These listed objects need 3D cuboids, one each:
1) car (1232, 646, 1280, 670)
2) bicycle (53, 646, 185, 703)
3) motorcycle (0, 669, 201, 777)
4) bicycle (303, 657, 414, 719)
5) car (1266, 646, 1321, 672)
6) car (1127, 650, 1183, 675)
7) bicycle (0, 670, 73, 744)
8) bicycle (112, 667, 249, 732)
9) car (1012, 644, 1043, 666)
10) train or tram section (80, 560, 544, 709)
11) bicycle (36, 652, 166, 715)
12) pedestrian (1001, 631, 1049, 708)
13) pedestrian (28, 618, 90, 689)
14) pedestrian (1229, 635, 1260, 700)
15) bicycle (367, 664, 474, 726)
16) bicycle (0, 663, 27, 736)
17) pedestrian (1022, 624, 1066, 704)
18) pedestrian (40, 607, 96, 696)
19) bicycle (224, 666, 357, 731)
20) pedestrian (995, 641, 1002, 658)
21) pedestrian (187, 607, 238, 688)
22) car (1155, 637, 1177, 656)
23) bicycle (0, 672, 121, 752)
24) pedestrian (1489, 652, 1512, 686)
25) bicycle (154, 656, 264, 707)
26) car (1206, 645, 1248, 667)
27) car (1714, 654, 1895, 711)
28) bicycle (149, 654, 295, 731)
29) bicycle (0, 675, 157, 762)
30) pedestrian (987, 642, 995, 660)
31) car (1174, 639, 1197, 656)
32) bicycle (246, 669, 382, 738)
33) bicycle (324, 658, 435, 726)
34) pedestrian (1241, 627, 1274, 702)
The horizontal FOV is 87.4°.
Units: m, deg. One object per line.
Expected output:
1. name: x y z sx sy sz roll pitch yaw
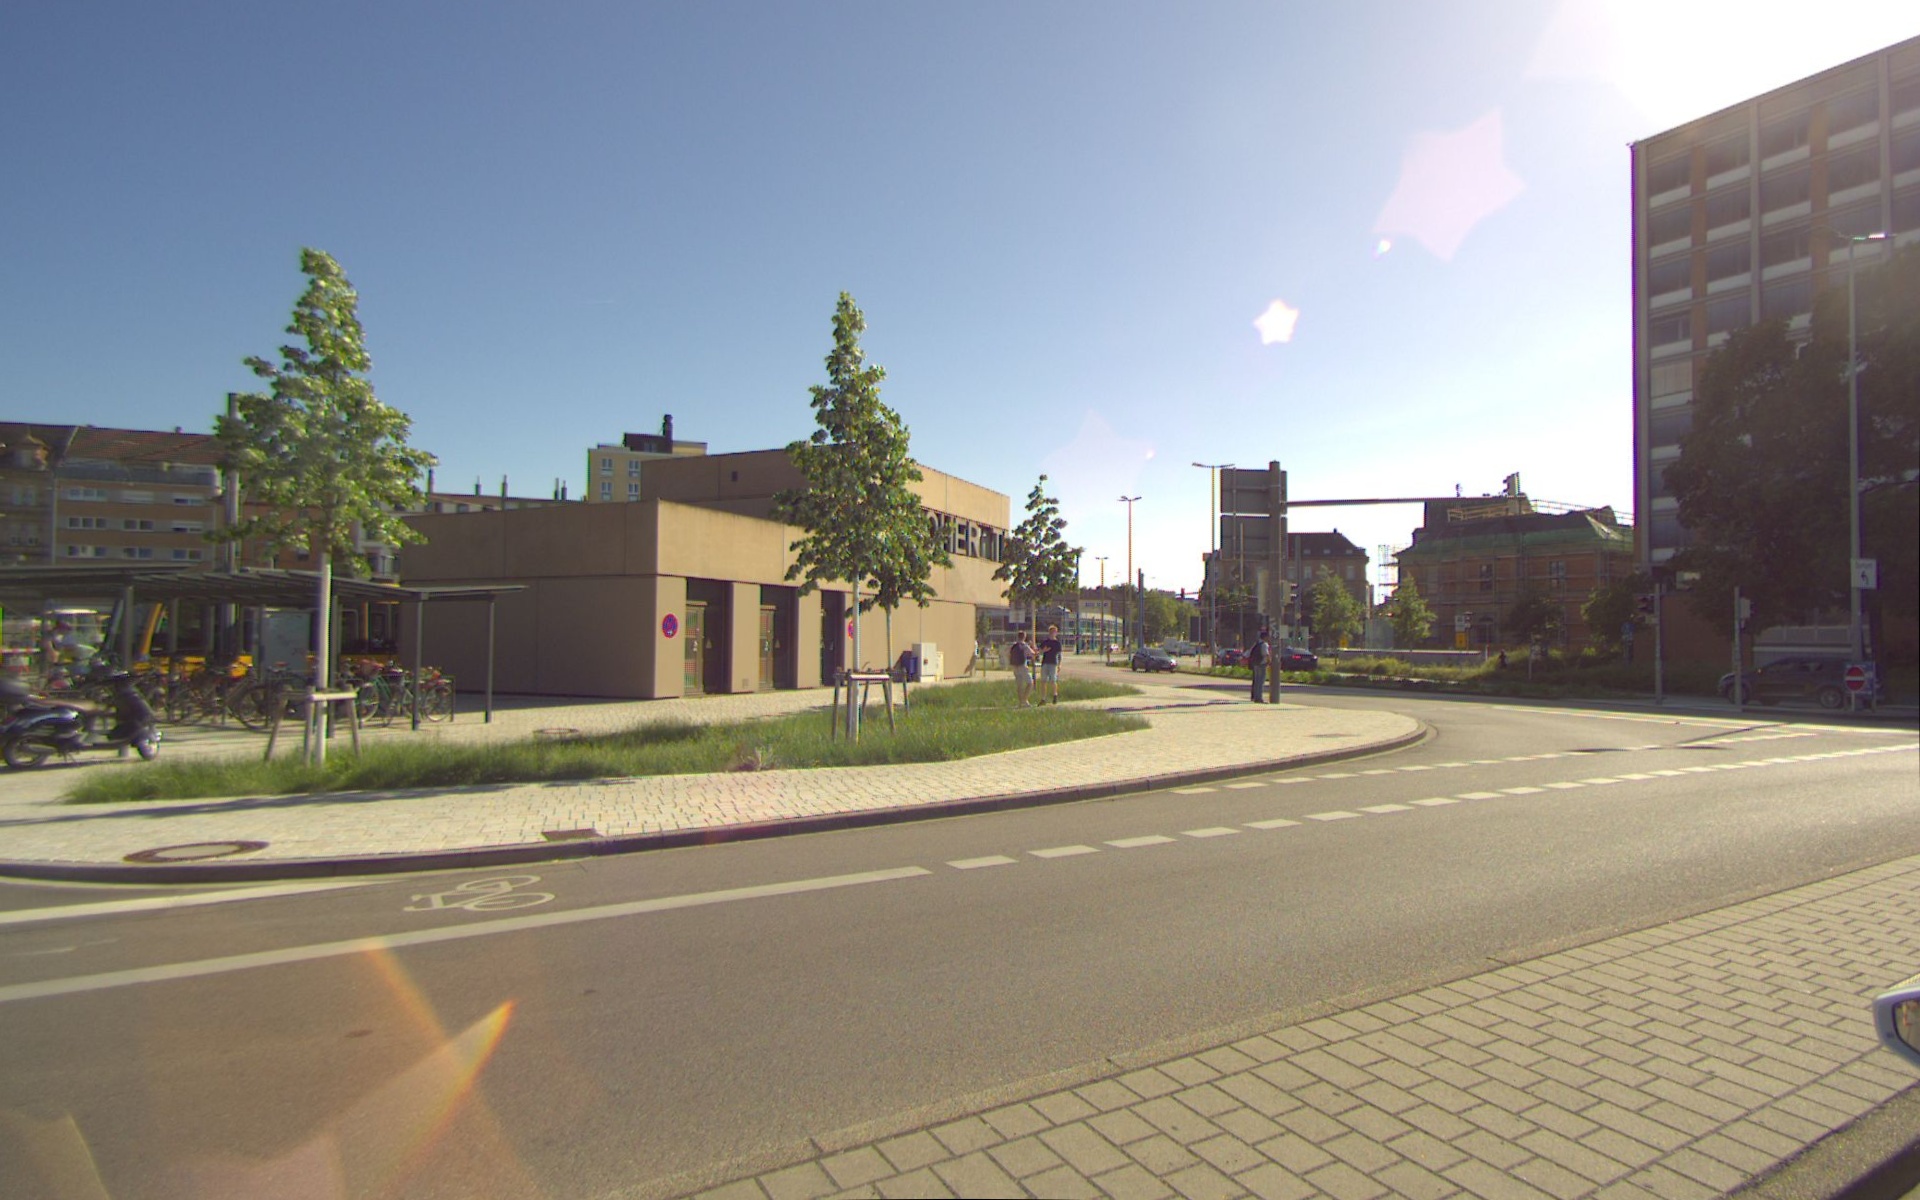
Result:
1. car: 20.276 3.945 69.000 1.962 1.538 3.818 1 -2 -4
2. bicycle: -16.001 1.397 19.168 0.617 1.021 1.828 0 -2 27
3. motorcycle: -10.928 1.483 12.477 0.599 1.173 2.360 0 -2 25
4. bicycle: -11.754 1.692 19.691 0.617 1.107 1.829 0 -2 25
5. car: 20.801 3.663 62.735 1.962 1.538 3.818 1 -2 -4
6. car: 11.565 3.712 59.920 1.964 1.407 3.994 1 -3 -10
7. bicycle: -14.113 1.554 14.515 0.617 1.021 1.829 0 -2 25
8. bicycle: -13.873 1.746 17.939 0.617 1.021 1.828 0 -2 27
9. car: 5.891 4.820 88.269 1.963 1.814 3.995 1 -2 -8
10. train or tram section: -18.661 1.067 30.724 2.702 3.648 12.318 0 -2 25
11. bicycle: -16.919 1.615 19.831 0.617 1.146 1.828 0 -2 27
12. pedestrian: 1.490 1.586 23.170 1.005 1.727 0.838 1 -2 -4
13. pedestrian: -26.271 1.545 29.290 0.854 2.040 1.012 0 -2 19
14. pedestrian: 7.641 1.800 26.966 0.594 1.719 0.634 1 -2 -7
15. bicycle: -9.831 1.714 18.386 0.616 1.021 1.832 0 -2 16
16. bicycle: -15.280 1.521 15.014 0.617 1.094 1.829 0 -2 25
17. pedestrian: 2.036 1.527 24.171 0.825 1.869 0.866 0 -2 22
18. pedestrian: -19.226 1.108 21.657 0.671 1.880 0.602 1 -2 -19
19. bicycle: -11.623 1.685 17.502 0.492 1.010 1.887 0 -2 31
20. pedestrian: 4.526 5.821 118.150 0.708 2.040 0.718 0 -2 11
21. pedestrian: -17.687 1.130 23.782 0.738 1.880 0.709 1 -2 -19
22. car: 29.192 6.580 142.402 2.951 2.580 6.963 0 -2 11
23. bicycle: -13.129 1.562 14.074 0.617 1.021 2.026 0 -2 25
24. pedestrian: 33.168 4.251 61.656 0.995 2.040 0.826 0 -2 -2
25. bicycle: -16.266 1.739 21.806 0.617 1.021 1.829 0 -2 25
26. car: 20.046 4.215 75.506 1.962 1.538 3.818 1 -2 -4
27. car: 26.240 2.518 31.386 1.806 1.591 3.986 1 -2 -17
28. bicycle: -12.896 1.588 17.631 0.496 1.225 2.051 0 -2 26
29. bicycle: -12.046 1.563 13.523 0.617 1.021 1.829 0 -2 25
30. pedestrian: 3.466 5.736 112.608 0.708 2.040 0.718 0 -2 12
31. car: 27.538 5.777 122.714 2.030 2.040 5.019 0 -2 5
32. bicycle: -10.680 1.684 16.685 0.617 1.021 1.828 0 -2 27
33. bicycle: -10.751 1.681 18.685 0.616 1.161 1.831 0 -2 18
34. pedestrian: 7.595 1.645 25.635 0.594 1.880 0.681 1 -2 -7
